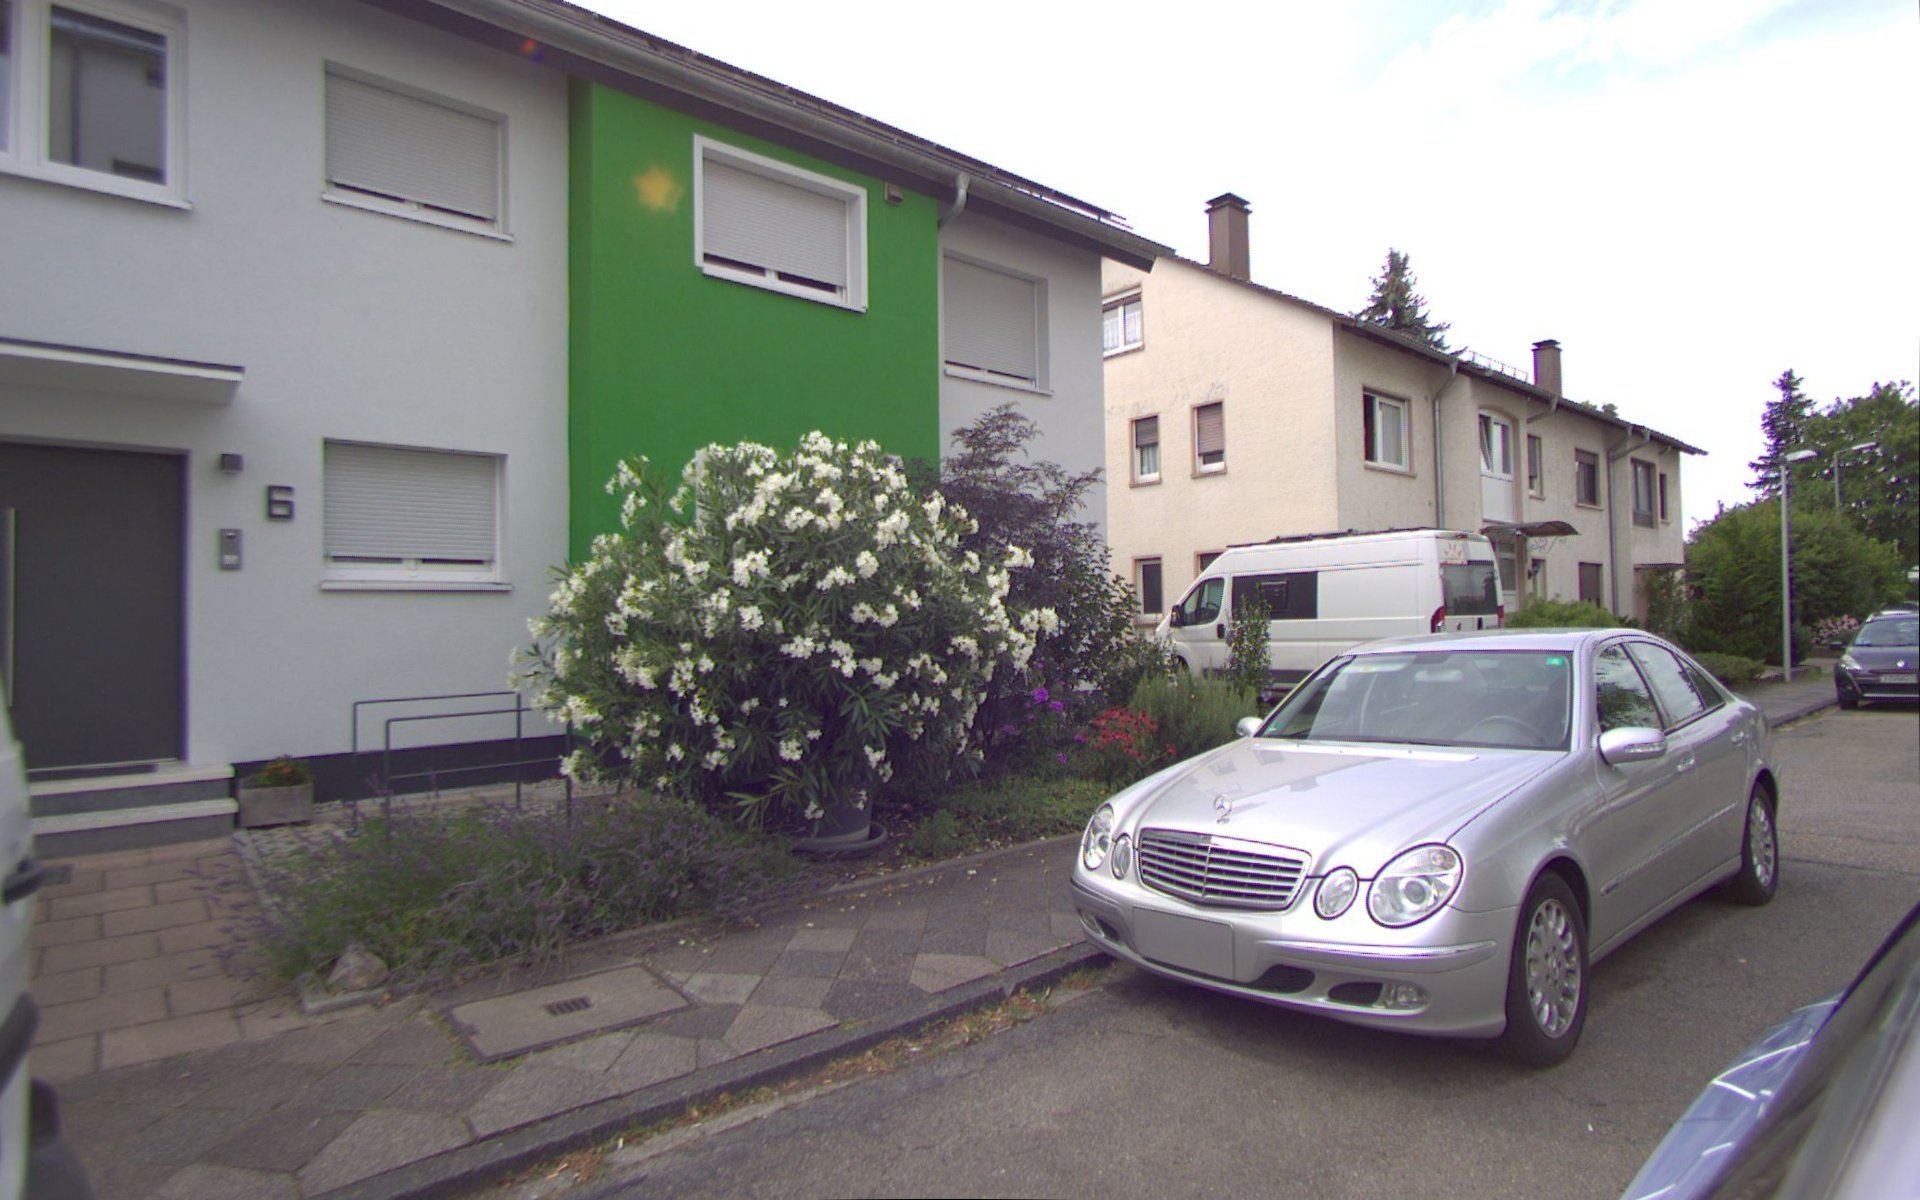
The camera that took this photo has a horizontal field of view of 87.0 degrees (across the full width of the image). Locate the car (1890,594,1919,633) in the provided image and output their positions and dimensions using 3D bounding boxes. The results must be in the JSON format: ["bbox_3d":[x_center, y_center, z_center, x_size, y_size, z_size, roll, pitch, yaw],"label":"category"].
[{"bbox_3d":[40.082,0.533,42.132,3.934,1.484,1.702,-2,0,-43],"label":"car"}]

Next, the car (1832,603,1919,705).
[{"bbox_3d":[15.356,0.788,16.033,4.119,1.477,1.831,0,-3,-43],"label":"car"}]

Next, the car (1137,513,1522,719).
[{"bbox_3d":[5.367,0.216,15.384,2.198,2.575,5.098,0,-1,-39],"label":"car"}]

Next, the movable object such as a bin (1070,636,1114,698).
[{"bbox_3d":[2.115,1.056,16.199,0.473,0.937,0.520,0,0,-41],"label":"movable object such as a bin"}]

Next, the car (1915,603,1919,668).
[{"bbox_3d":[23.012,0.775,22.798,4.119,1.477,1.831,0,-3,-43],"label":"car"}]

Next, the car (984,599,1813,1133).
[{"bbox_3d":[2.372,0.765,4.858,4.375,1.439,1.786,0,-3,-39],"label":"car"}]
